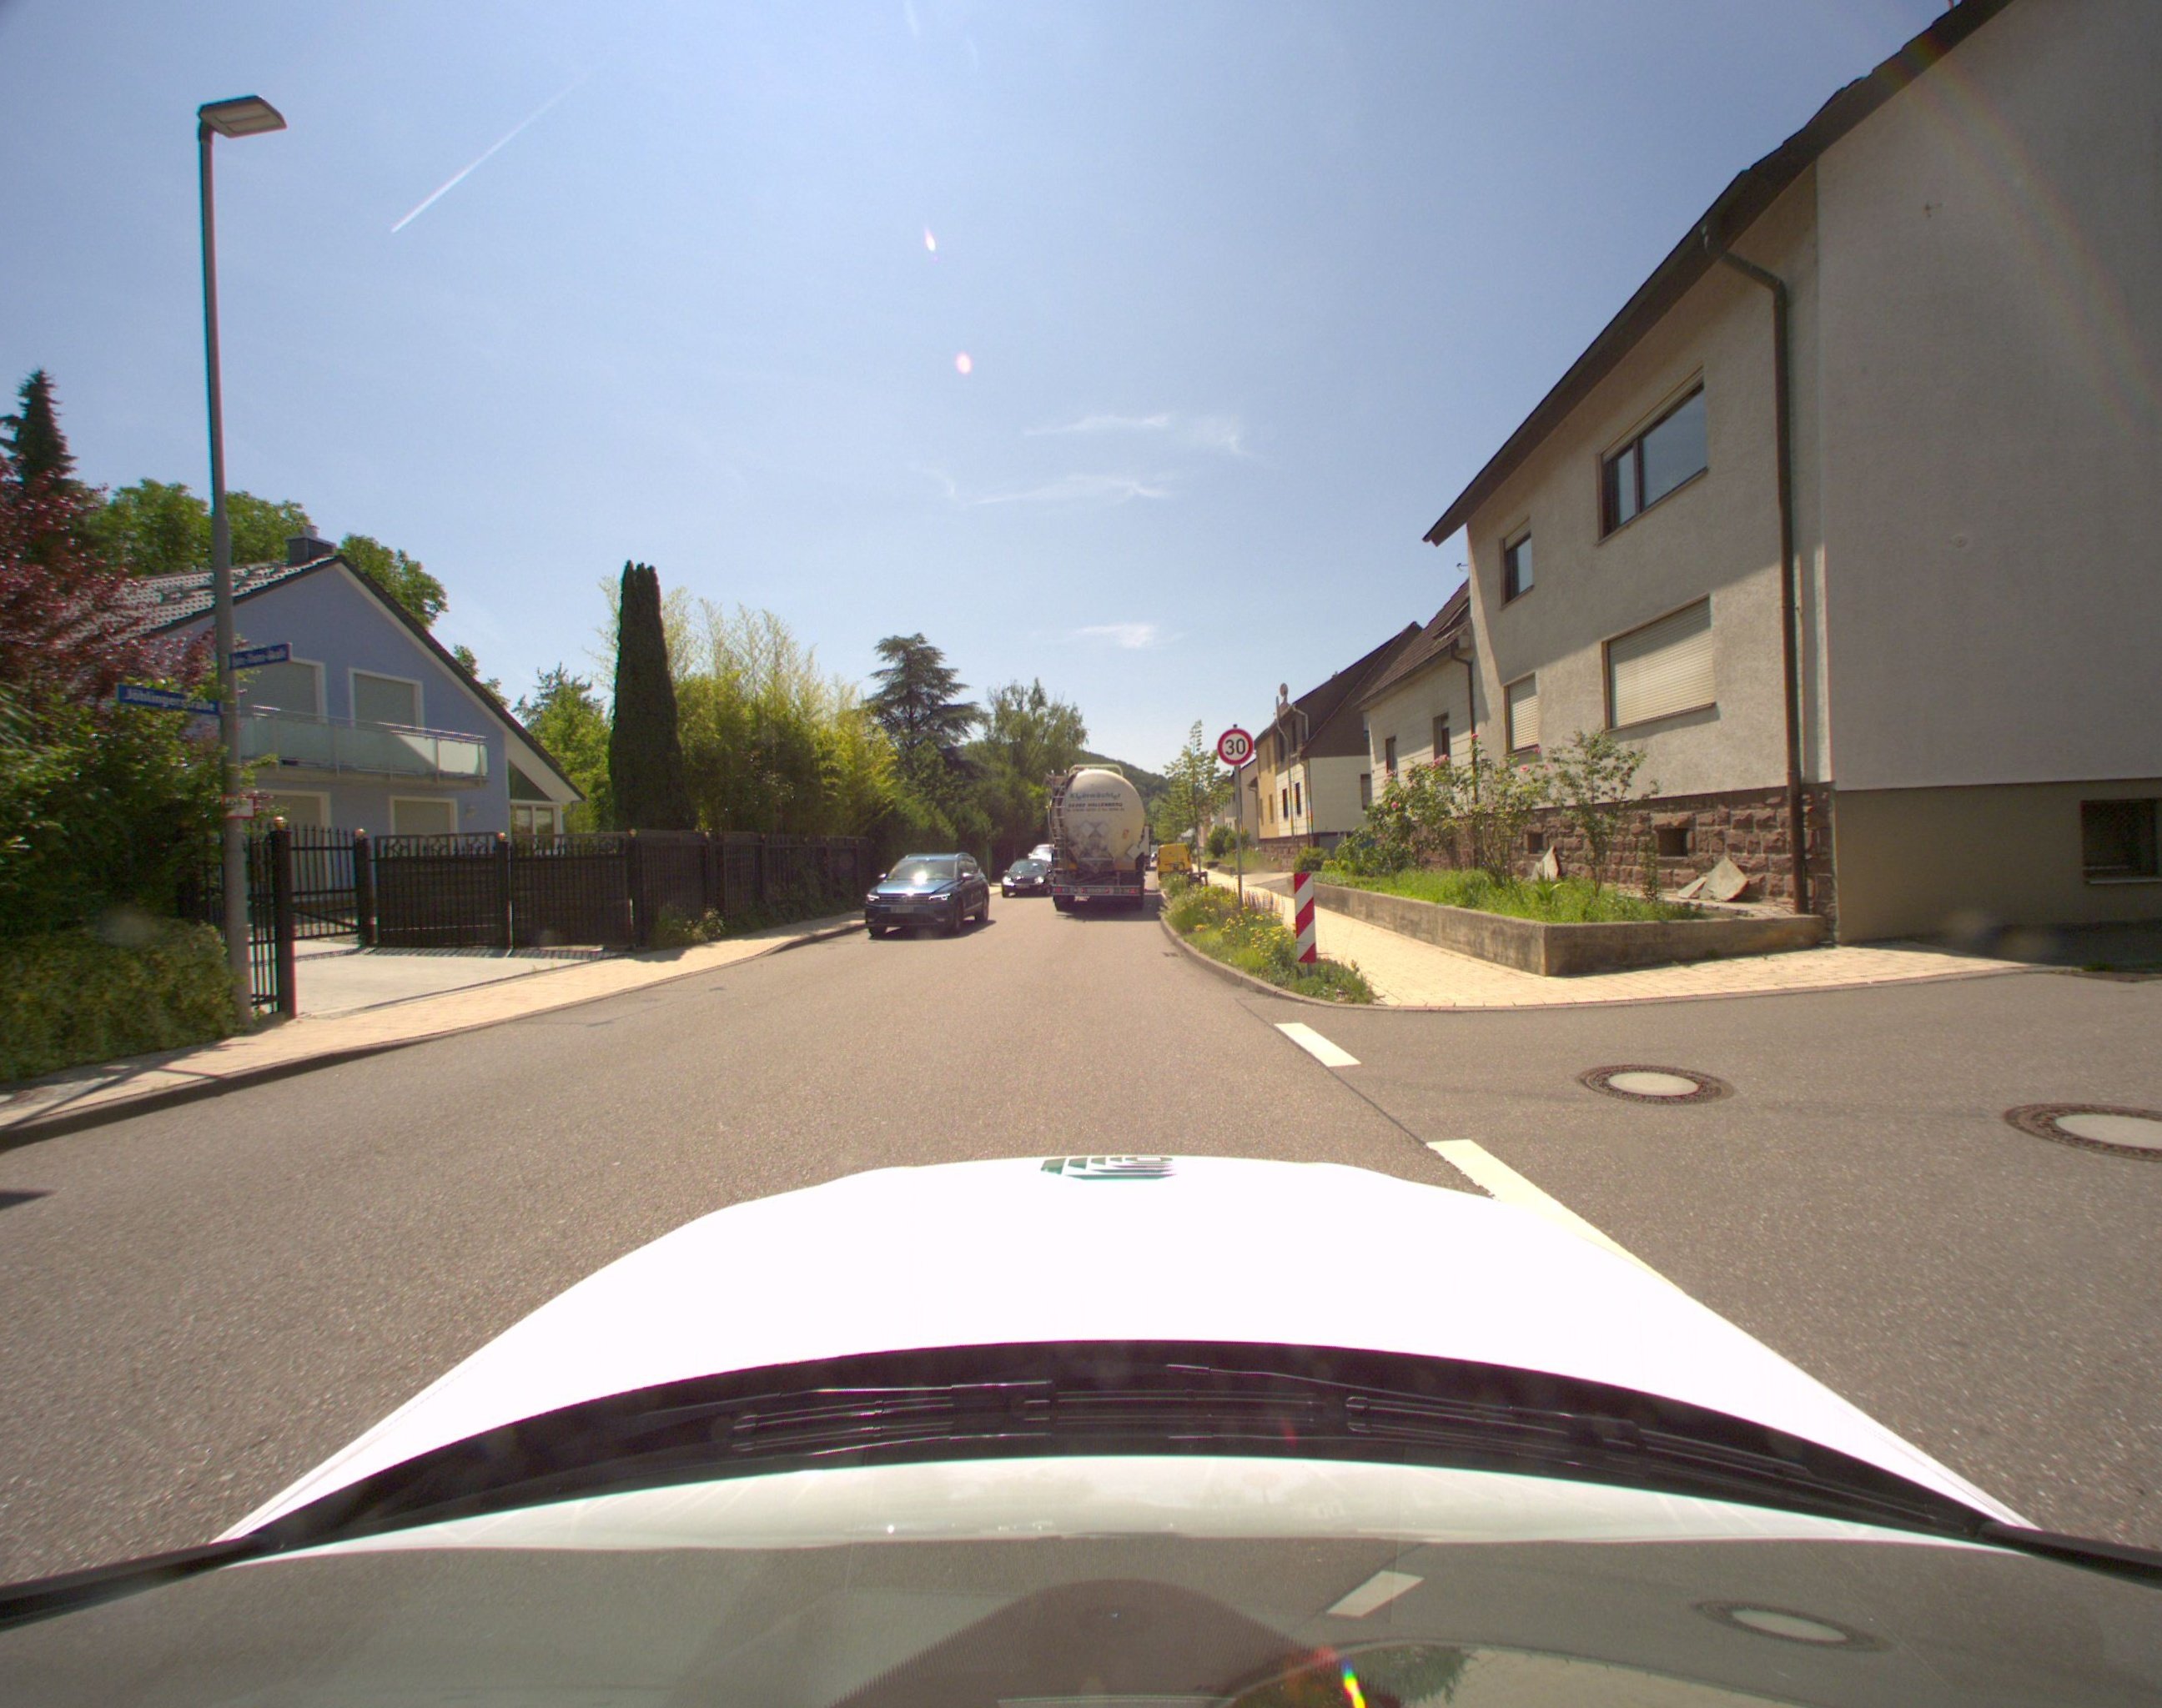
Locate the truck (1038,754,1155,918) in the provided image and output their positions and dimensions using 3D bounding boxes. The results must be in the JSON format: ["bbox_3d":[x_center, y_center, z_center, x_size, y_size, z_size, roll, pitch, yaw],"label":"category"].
[{"bbox_3d":[0.863,-0.471,25.795,2.736,4.056,10.907,-1,0,6],"label":"truck"}]

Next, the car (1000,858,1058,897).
[{"bbox_3d":[-1.968,0.877,31.796,1.759,1.402,4.251,0,-1,3],"label":"car"}]

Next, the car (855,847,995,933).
[{"bbox_3d":[-3.248,0.719,17.938,1.880,1.645,4.618,0,-1,4],"label":"car"}]

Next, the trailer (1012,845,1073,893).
[{"bbox_3d":[-1.627,0.649,37.058,2.146,1.987,6.206,0,-1,3],"label":"trailer"}]

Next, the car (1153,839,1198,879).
[{"bbox_3d":[5.473,0.313,47.749,2.180,2.013,5.628,-6,-1,4],"label":"car"}]
